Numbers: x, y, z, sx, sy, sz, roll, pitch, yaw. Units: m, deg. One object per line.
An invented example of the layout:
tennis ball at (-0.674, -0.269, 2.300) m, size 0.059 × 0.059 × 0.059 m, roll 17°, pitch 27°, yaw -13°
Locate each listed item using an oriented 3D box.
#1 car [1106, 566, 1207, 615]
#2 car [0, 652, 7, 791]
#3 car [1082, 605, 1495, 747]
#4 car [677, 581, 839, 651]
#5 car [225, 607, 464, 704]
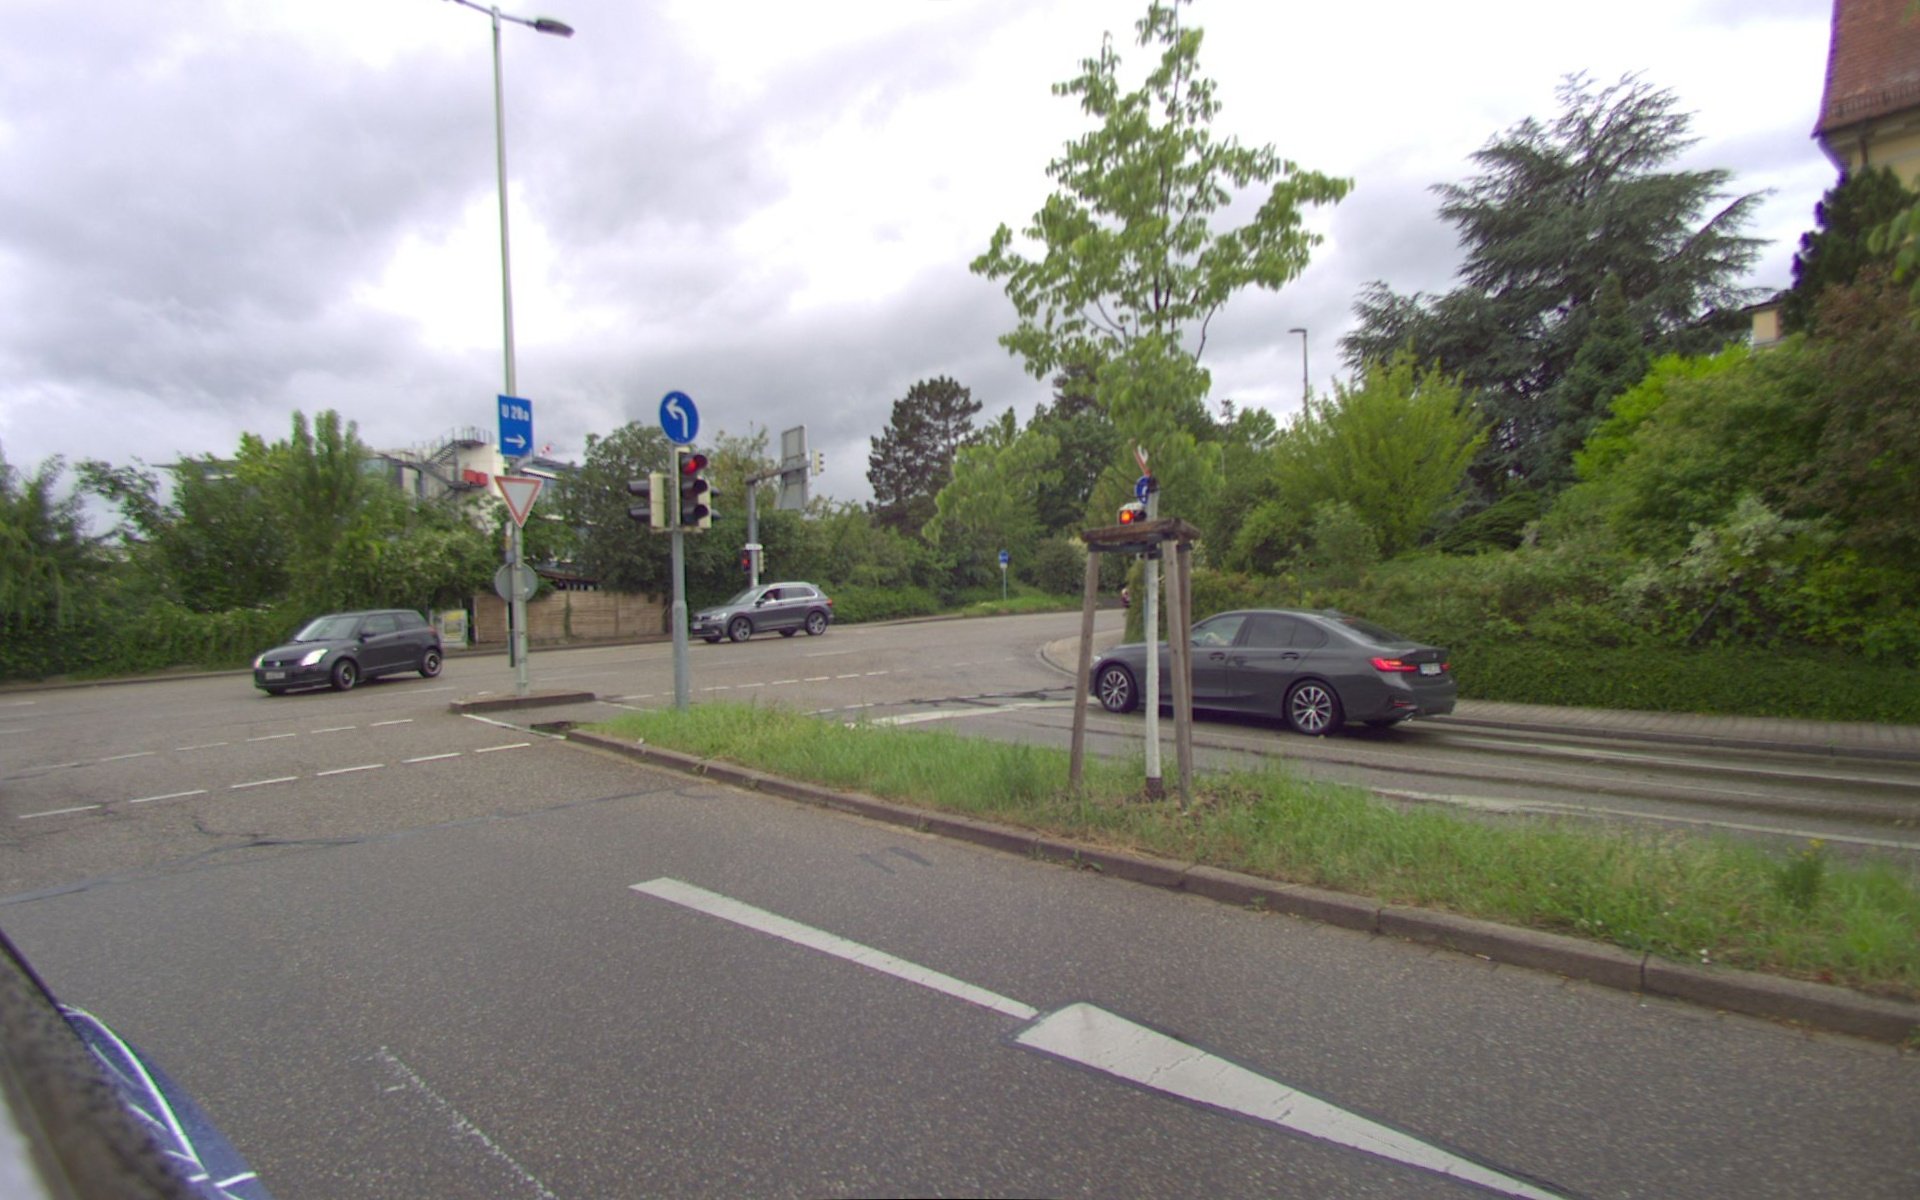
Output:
car at (8.219, -0.404, 42.215) m, size 3.935 × 1.739 × 1.873 m, roll -5°, pitch 1°, yaw -36°
car at (-8.811, 1.037, 7.566) m, size 1.884 × 1.507 × 4.358 m, roll -3°, pitch 0°, yaw -36°
car at (3.909, 0.808, 12.661) m, size 1.970 × 1.448 × 4.553 m, roll 1°, pitch -1°, yaw -43°
car at (-6.009, 0.449, 30.375) m, size 4.241 × 1.763 × 1.972 m, roll -5°, pitch 1°, yaw -40°
car at (-12.232, 1.039, 20.444) m, size 1.731 × 1.530 × 3.981 m, roll -4°, pitch 1°, yaw 15°
